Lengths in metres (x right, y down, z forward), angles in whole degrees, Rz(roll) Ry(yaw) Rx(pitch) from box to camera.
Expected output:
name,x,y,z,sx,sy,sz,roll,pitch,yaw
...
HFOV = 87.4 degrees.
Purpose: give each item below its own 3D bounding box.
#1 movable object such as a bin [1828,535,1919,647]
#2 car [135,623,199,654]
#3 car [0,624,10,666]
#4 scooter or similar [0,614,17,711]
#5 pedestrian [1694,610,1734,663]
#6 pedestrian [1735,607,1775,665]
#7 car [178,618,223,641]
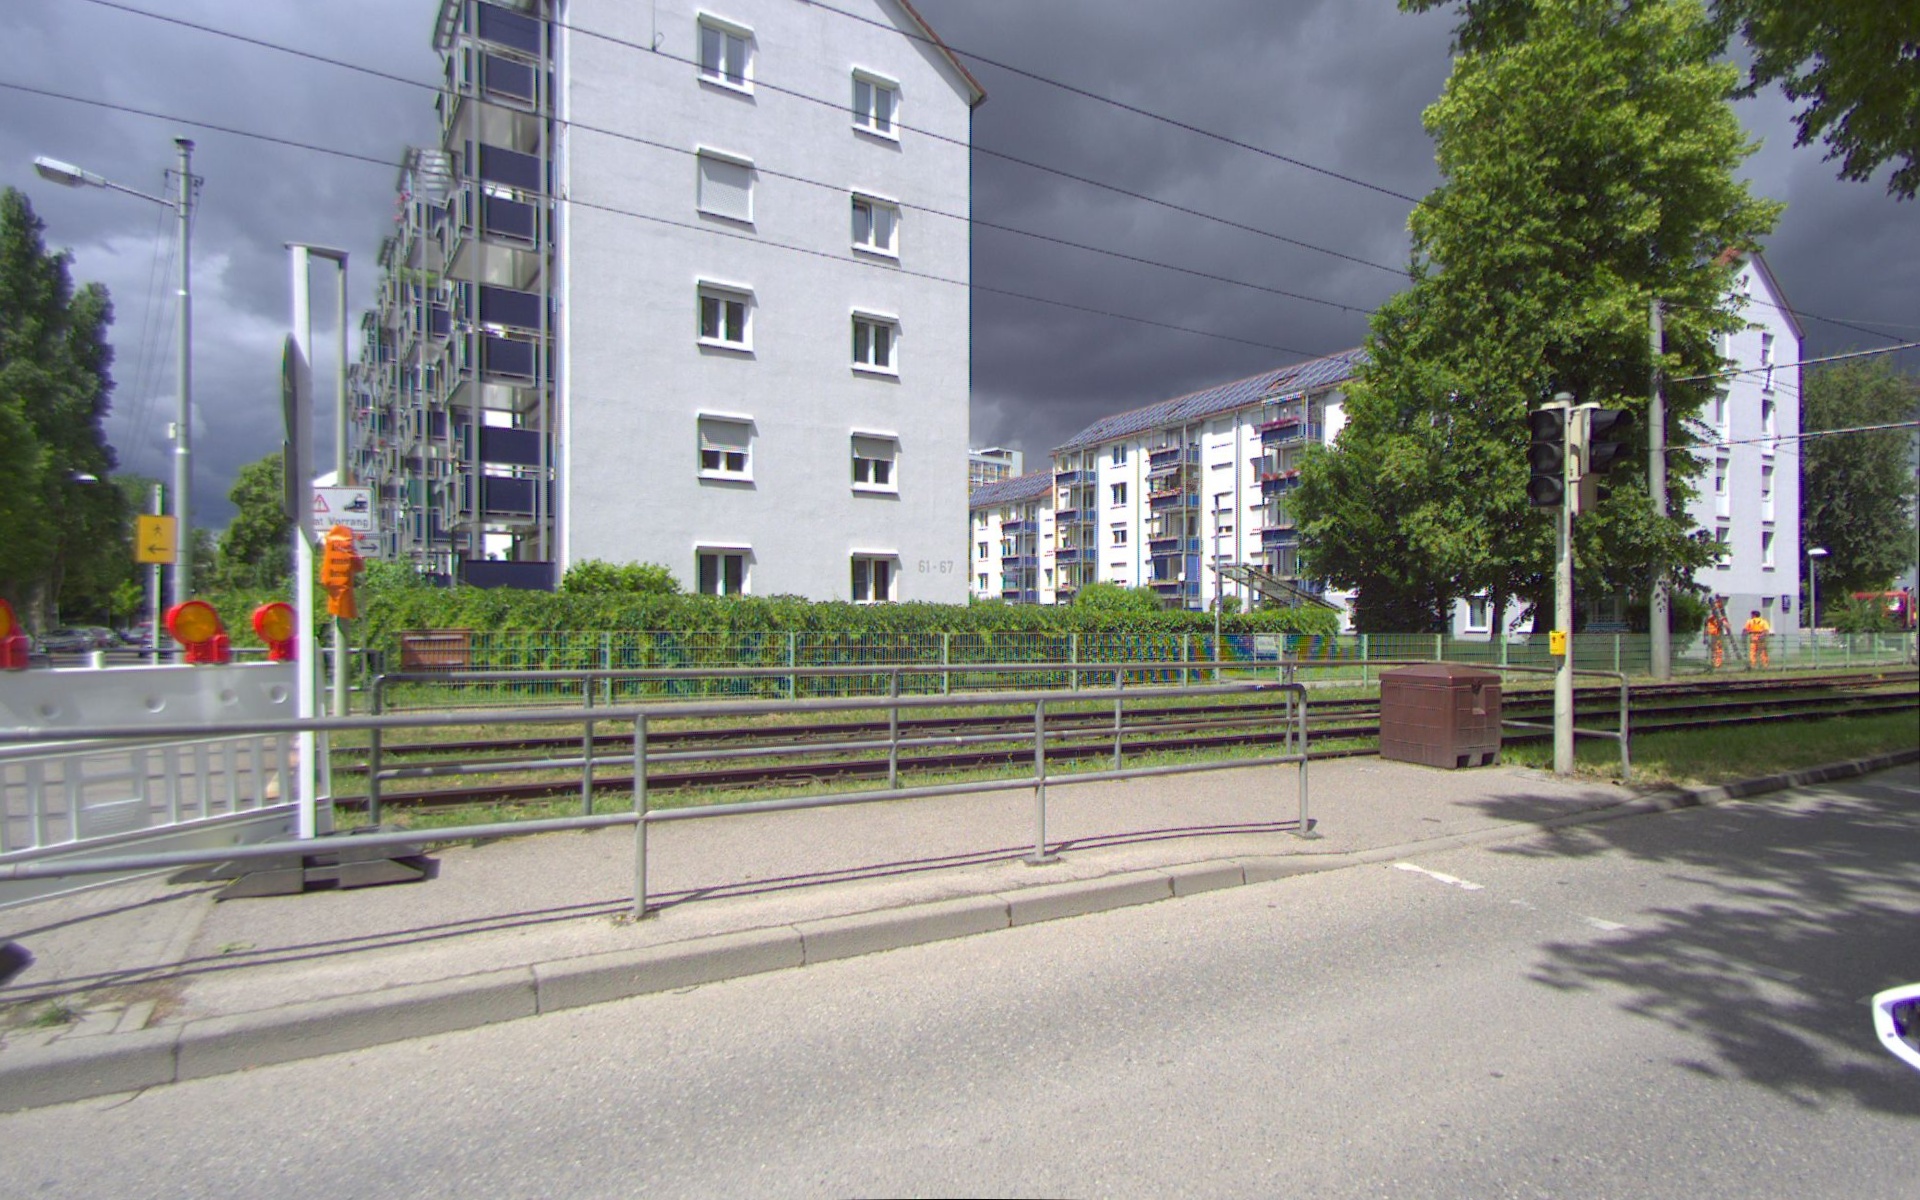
name,x,y,z,sx,sy,sz,roll,pitch,yaw
movable object such as a bin,48.470,-0.402,49.693,2.613,5.486,9.227,1,0,-4
car,-39.372,1.884,49.962,1.915,1.505,3.967,1,-1,-31
car,-35.085,1.518,33.922,3.949,1.445,1.837,1,-2,-28
scooter or similar,-12.688,0.807,12.824,0.458,1.270,1.295,1,-1,-21
pedestrian,23.677,1.146,31.546,0.857,1.647,0.728,1,0,-31
pedestrian,24.547,1.110,31.011,0.857,1.741,0.696,1,0,-31
car,-51.354,1.954,67.983,1.915,1.505,3.967,1,-1,-31
